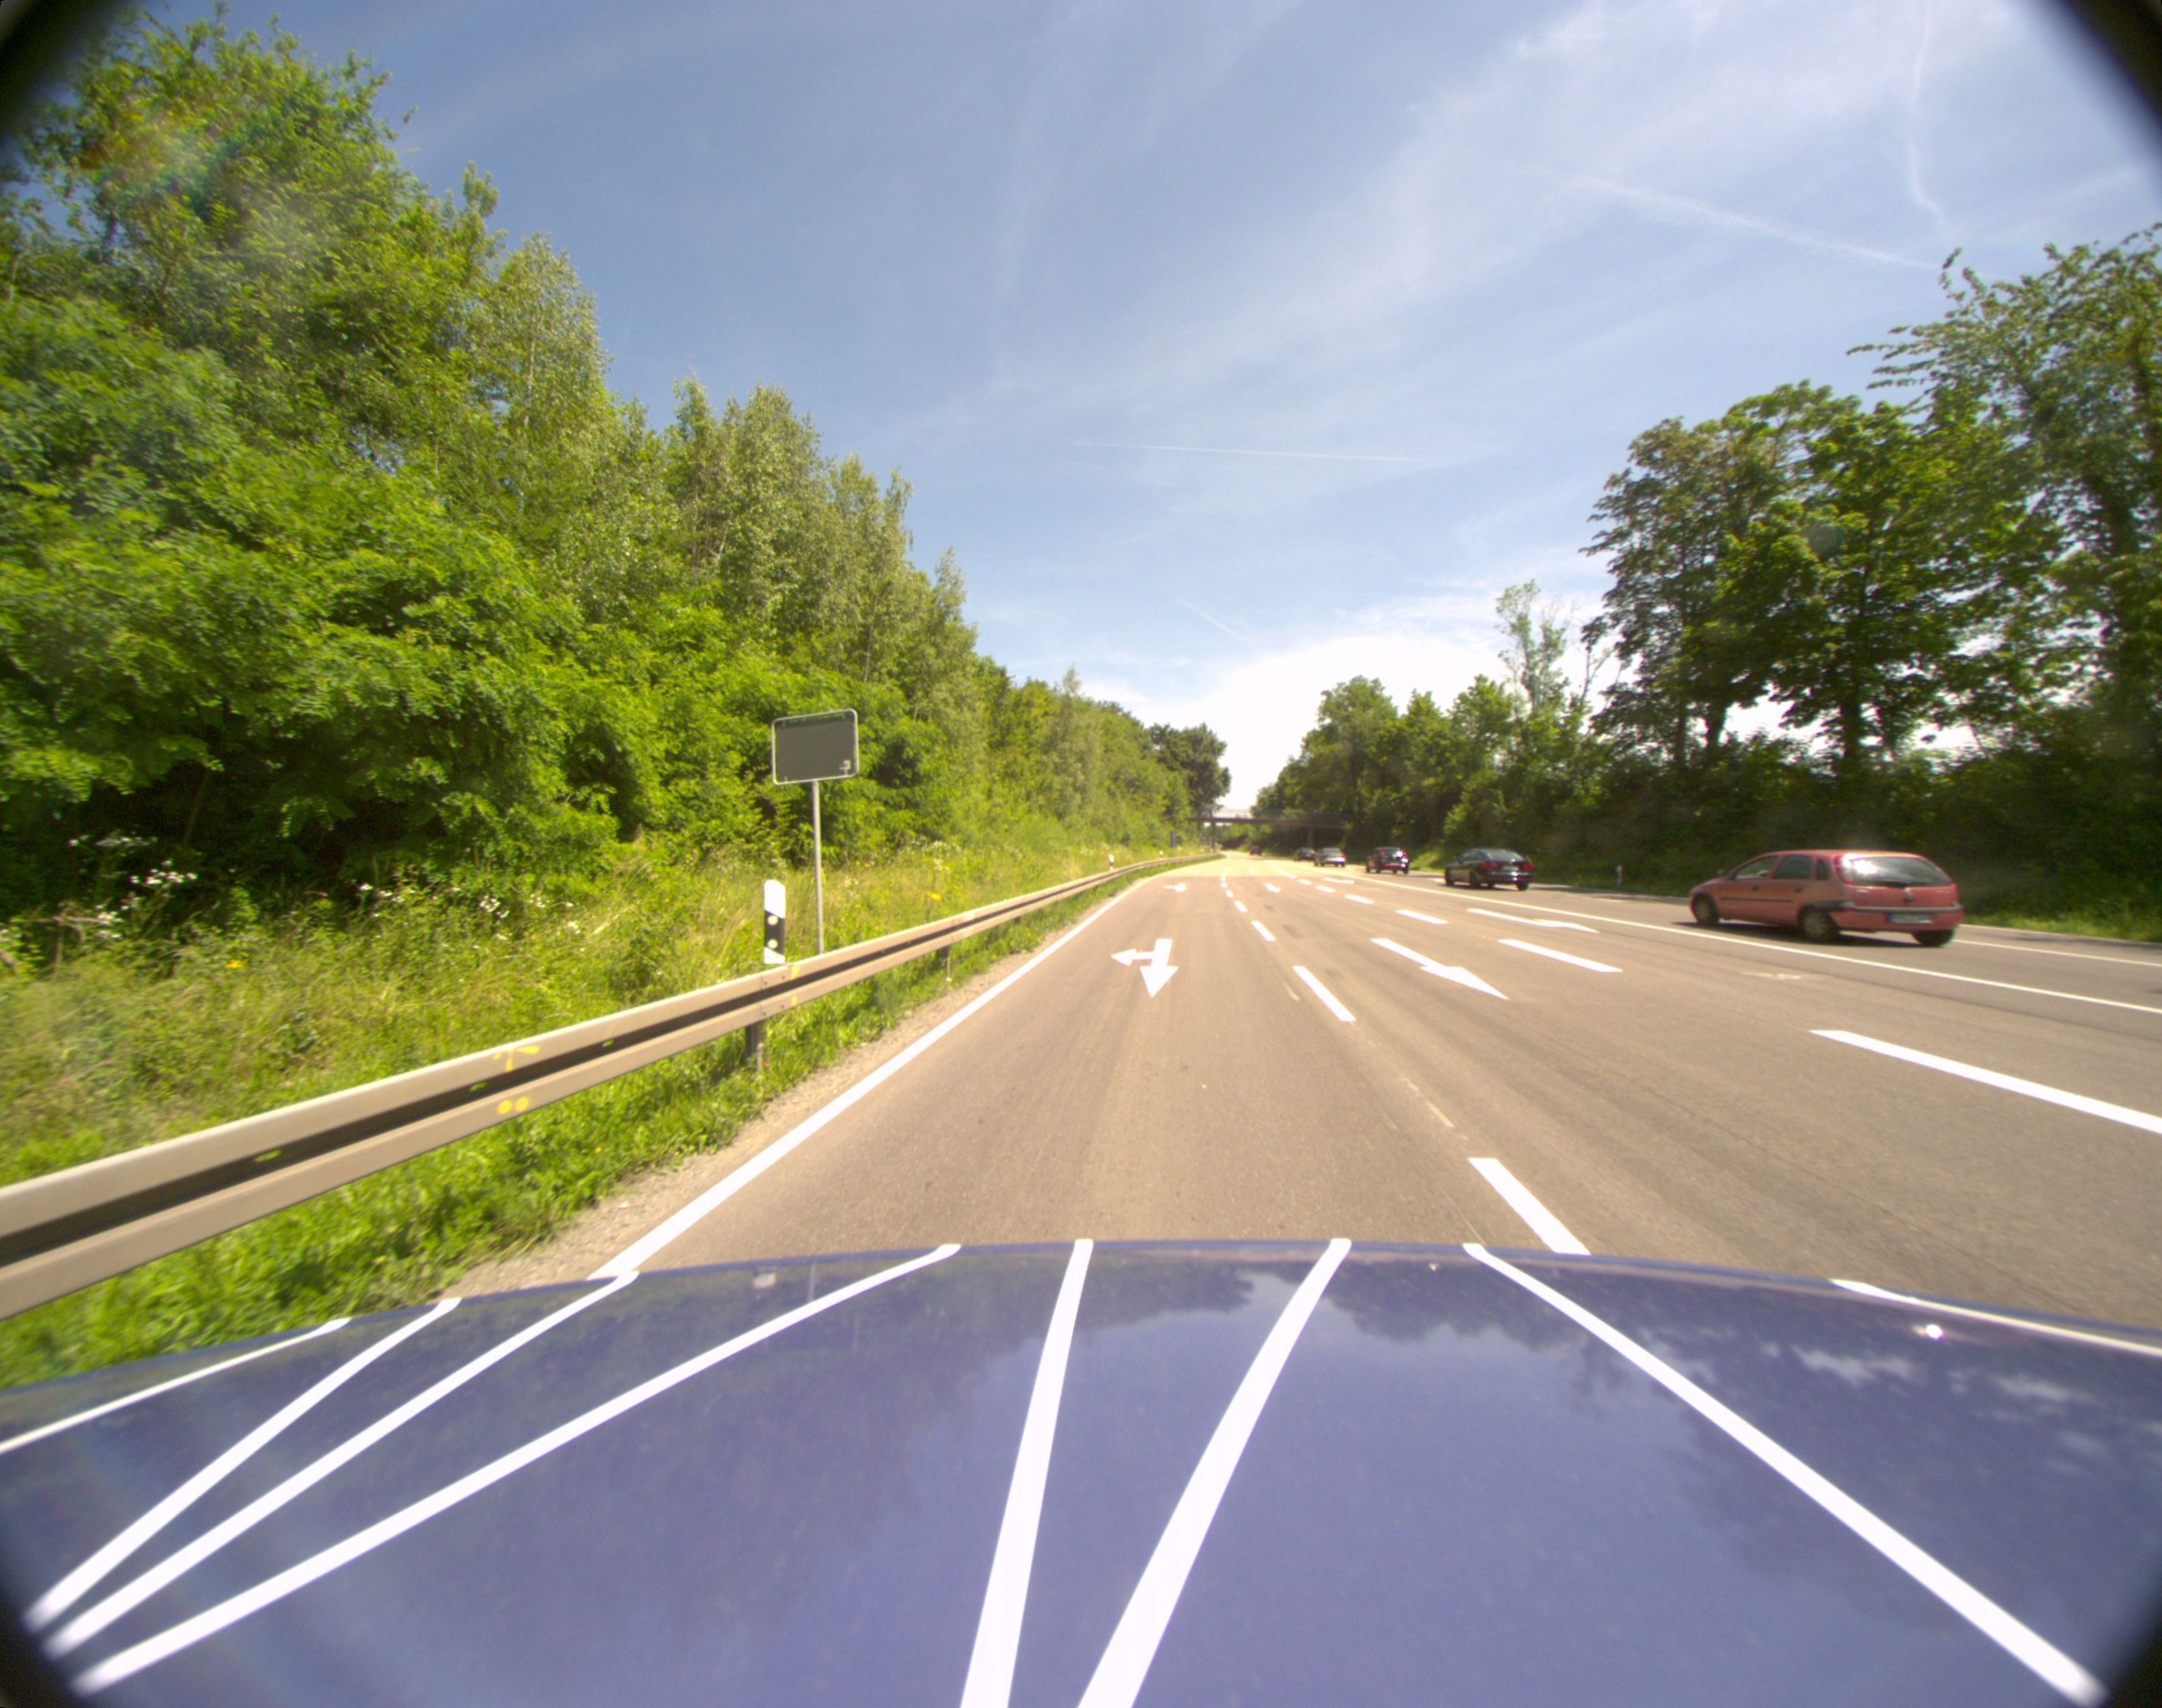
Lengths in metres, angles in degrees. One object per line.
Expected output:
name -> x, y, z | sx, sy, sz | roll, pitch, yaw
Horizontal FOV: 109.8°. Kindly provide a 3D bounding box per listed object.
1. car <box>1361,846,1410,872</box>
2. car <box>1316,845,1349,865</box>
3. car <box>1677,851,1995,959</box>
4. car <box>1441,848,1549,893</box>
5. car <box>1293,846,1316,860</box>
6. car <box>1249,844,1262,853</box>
car -> 17.547, 0.275, 43.947 | 1.645, 1.430, 4.018 | -1, 0, 6
car -> 19.283, 0.047, 58.412 | 1.770, 1.378, 4.001 | -1, 1, 8
car -> 11.975, 0.695, 12.468 | 1.770, 1.437, 3.777 | 0, 1, 8
car -> 15.111, 0.566, 28.054 | 1.922, 1.472, 4.690 | 1, 0, 8
car -> 23.283, -0.116, 79.299 | 1.770, 1.378, 4.001 | -1, 1, 8
car -> 30.670, -0.928, 133.293 | 1.907, 1.500, 3.766 | 0, 1, 8
